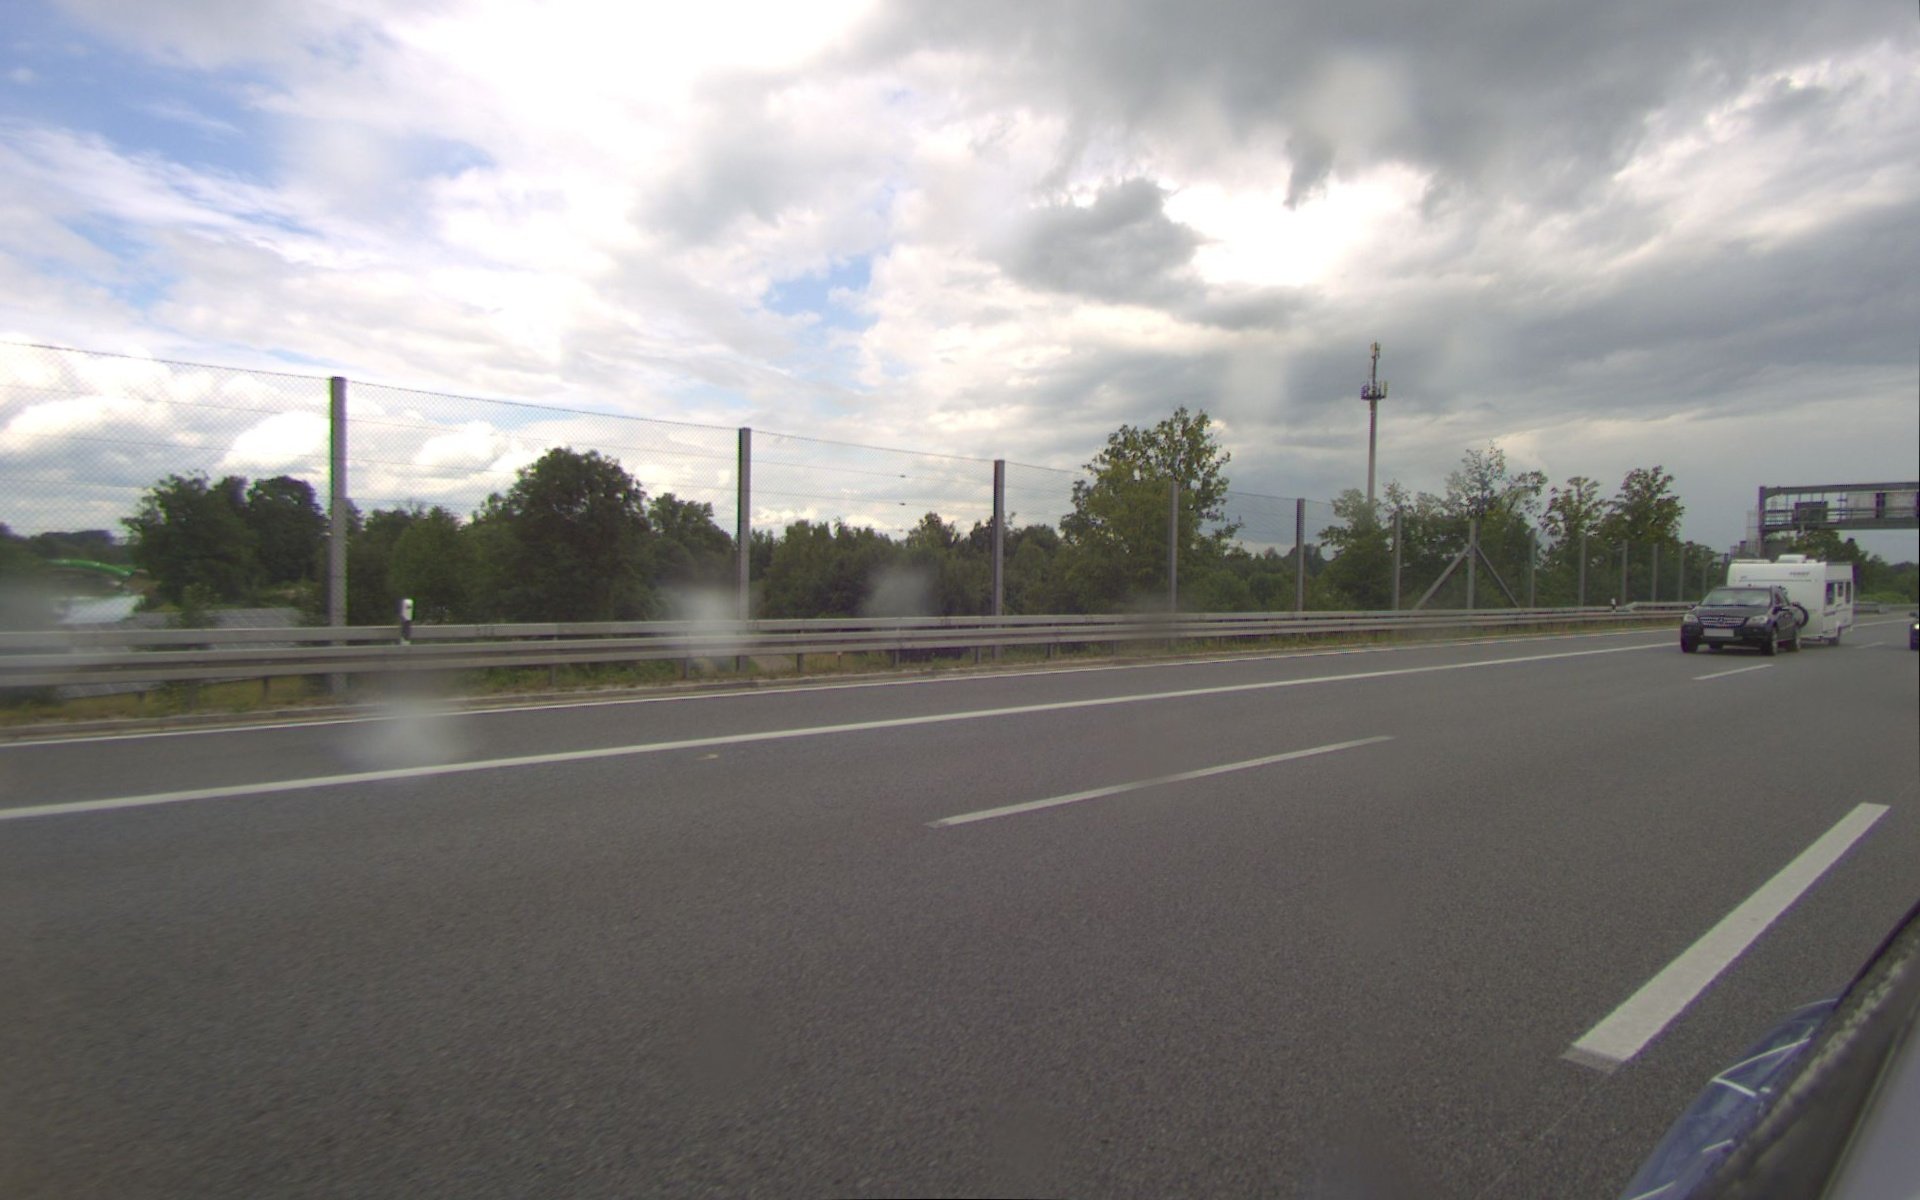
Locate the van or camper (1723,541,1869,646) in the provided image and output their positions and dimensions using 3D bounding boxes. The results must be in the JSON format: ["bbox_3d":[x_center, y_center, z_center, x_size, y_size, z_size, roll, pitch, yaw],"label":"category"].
[{"bbox_3d":[25.080,-0.177,30.240,7.085,2.773,2.387,0,0,-42],"label":"van or camper"}]

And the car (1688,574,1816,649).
[{"bbox_3d":[20.746,0.266,26.445,4.425,1.798,1.923,0,0,-42],"label":"car"}]
